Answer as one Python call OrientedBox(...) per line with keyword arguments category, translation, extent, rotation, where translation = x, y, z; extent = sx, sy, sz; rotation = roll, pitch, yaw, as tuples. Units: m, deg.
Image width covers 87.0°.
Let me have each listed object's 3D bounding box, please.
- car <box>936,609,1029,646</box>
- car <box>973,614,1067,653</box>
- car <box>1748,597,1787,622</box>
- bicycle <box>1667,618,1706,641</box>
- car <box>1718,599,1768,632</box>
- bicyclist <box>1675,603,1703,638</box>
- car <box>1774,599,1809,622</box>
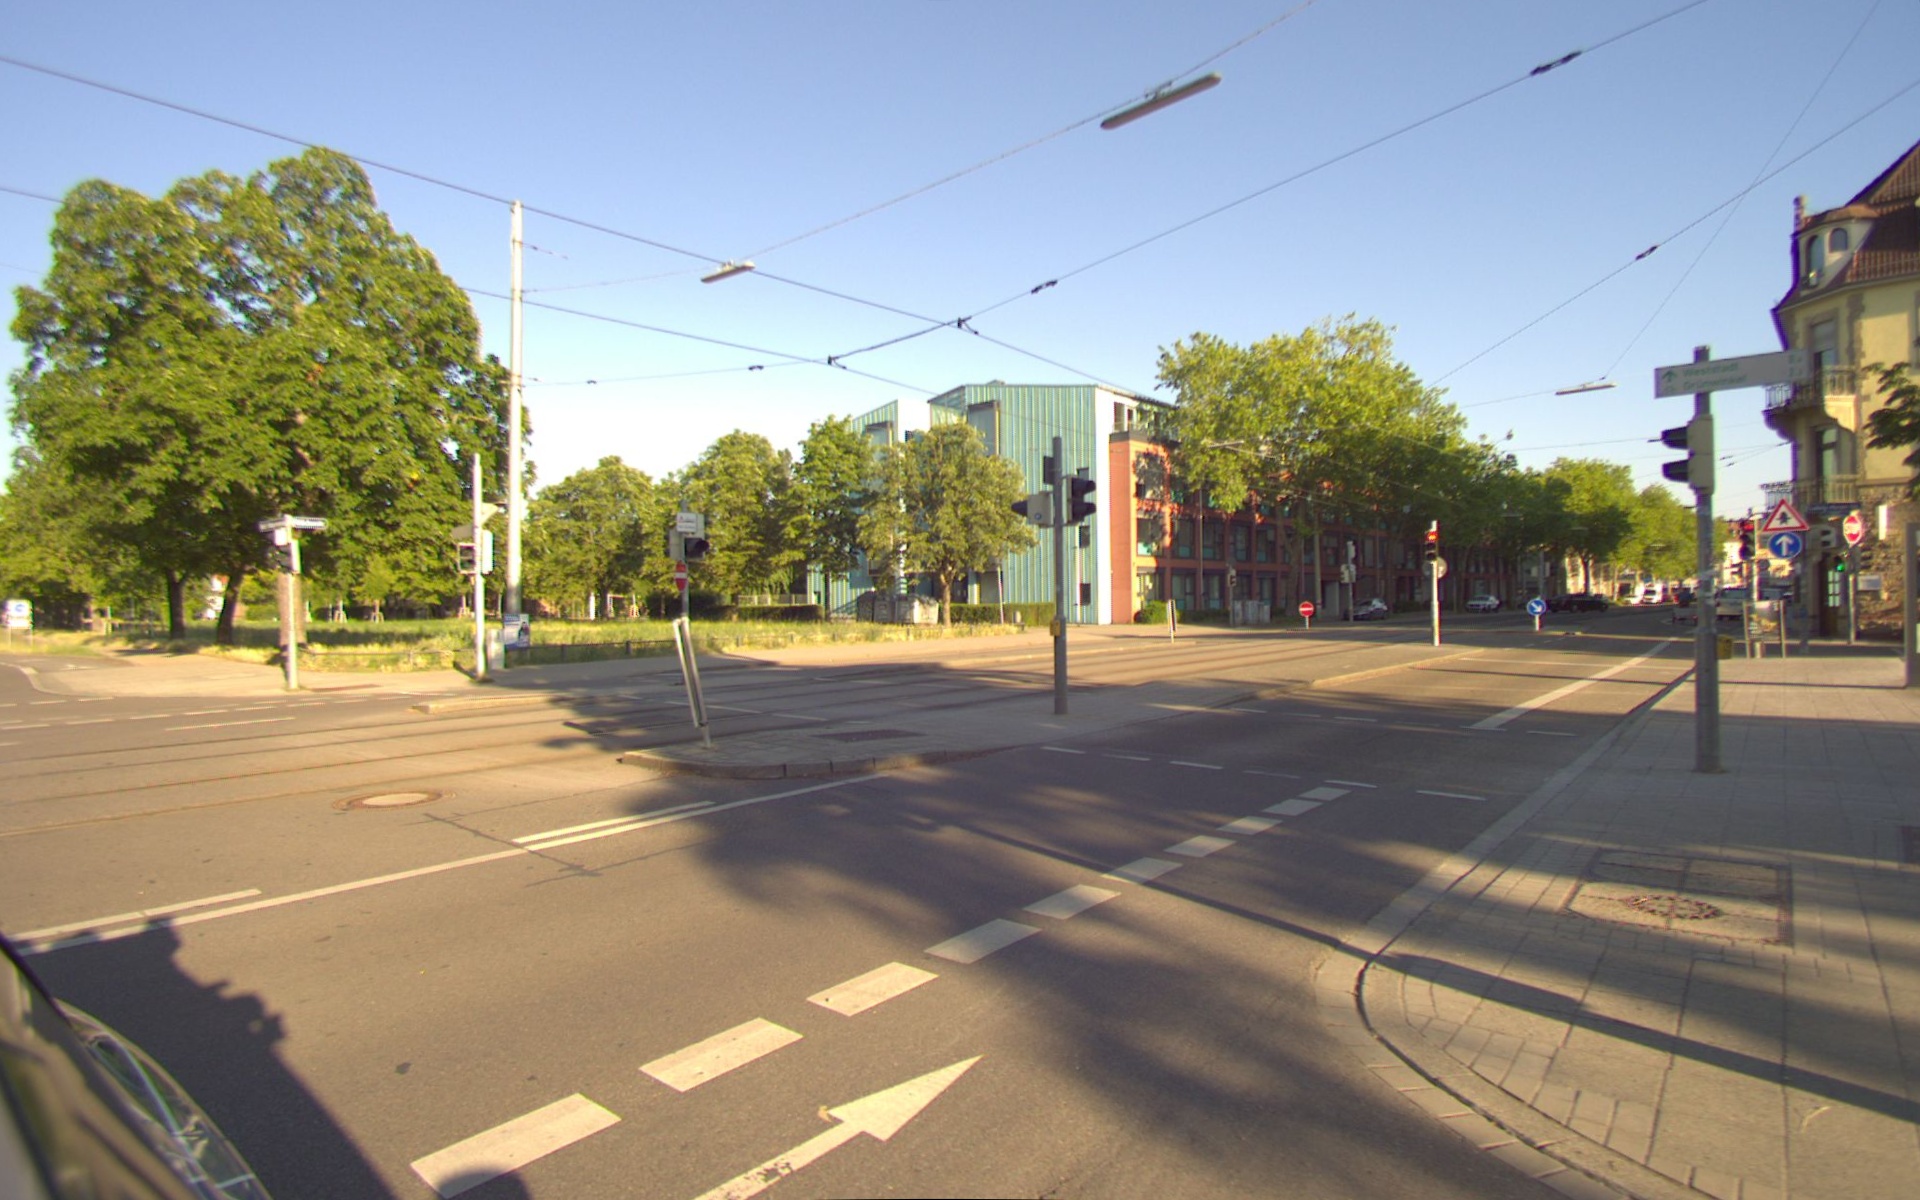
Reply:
OrientedBox(category="car", translation=(1.251, 1.427, 53.905), extent=(1.968, 1.684, 5.149), rotation=(-1, 1, 43))
OrientedBox(category="car", translation=(3.162, 1.678, 52.137), extent=(2.000, 1.684, 5.150), rotation=(-1, 1, 43))
OrientedBox(category="car", translation=(58.056, 0.670, 72.744), extent=(2.000, 1.684, 3.727), rotation=(-1, 1, 42))
OrientedBox(category="bicycle", translation=(36.866, 1.482, 51.319), extent=(3.035, 1.170, 0.876), rotation=(1, -2, -40))
OrientedBox(category="car", translation=(45.701, 0.897, 59.075), extent=(2.031, 1.749, 3.727), rotation=(-1, 1, 42))
OrientedBox(category="bicyclist", translation=(37.126, 1.037, 51.554), extent=(1.130, 1.736, 0.876), rotation=(1, -2, -40))
OrientedBox(category="car", translation=(65.703, 0.812, 79.949), extent=(1.999, 1.684, 3.728), rotation=(-1, 1, 42))
